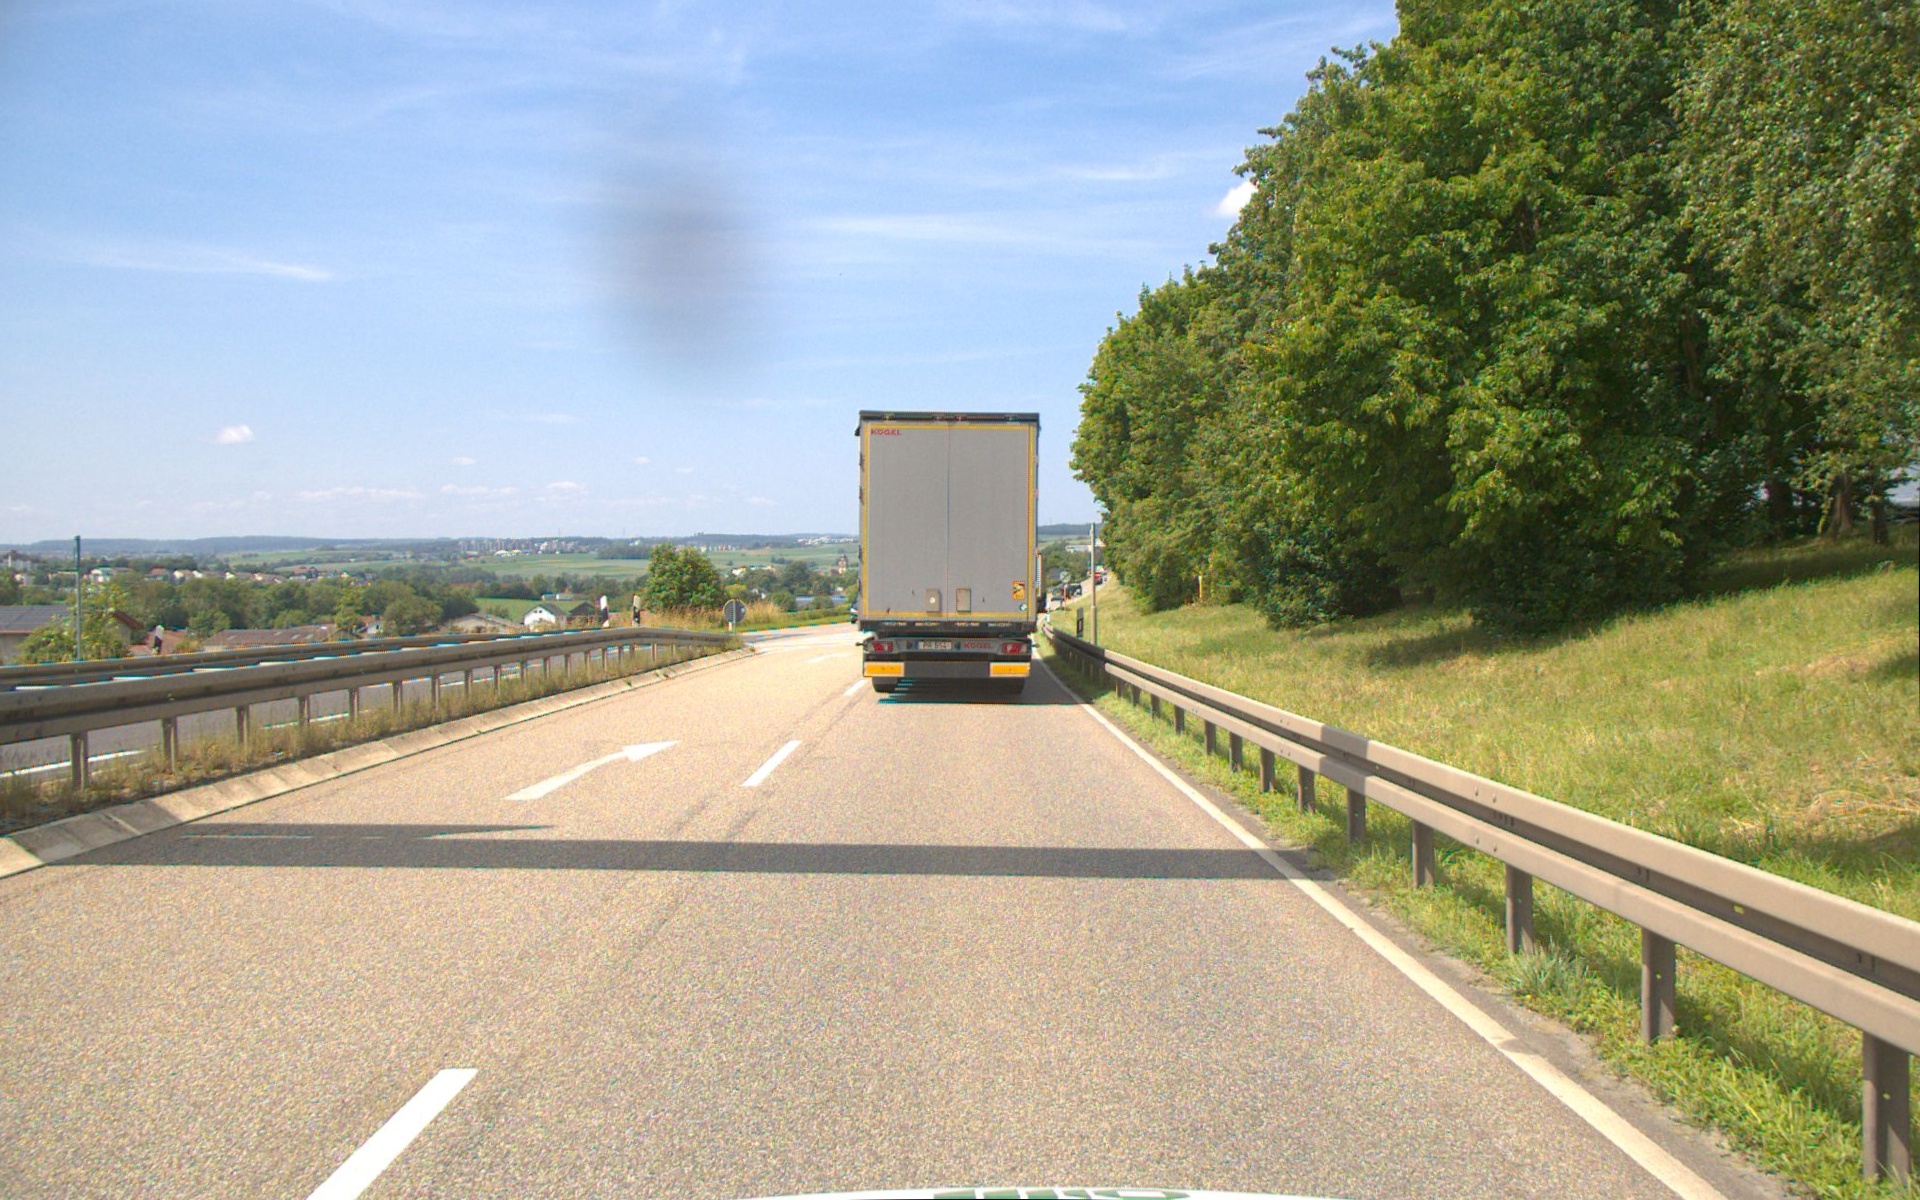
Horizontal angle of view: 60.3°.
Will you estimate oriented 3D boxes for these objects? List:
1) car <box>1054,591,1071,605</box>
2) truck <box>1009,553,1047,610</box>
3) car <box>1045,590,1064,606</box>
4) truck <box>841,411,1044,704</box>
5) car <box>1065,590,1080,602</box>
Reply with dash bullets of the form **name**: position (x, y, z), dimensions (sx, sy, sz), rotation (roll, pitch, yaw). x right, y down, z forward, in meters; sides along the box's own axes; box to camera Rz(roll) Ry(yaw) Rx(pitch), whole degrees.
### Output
- **car**: position (13.013, -0.261, 210.097), dimensions (1.750, 1.717, 3.998), rotation (0, -1, -2)
- **truck**: position (4.893, -1.219, 117.544), dimensions (2.600, 3.830, 10.165), rotation (0, -1, 3)
- **car**: position (10.682, -0.244, 187.357), dimensions (1.750, 1.717, 3.998), rotation (0, -1, -2)
- **truck**: position (-0.295, -0.615, 28.384), dimensions (2.742, 3.998, 11.340), rotation (1, 0, -1)
- **car**: position (15.722, -0.549, 231.418), dimensions (1.750, 1.717, 3.998), rotation (0, -1, -2)
